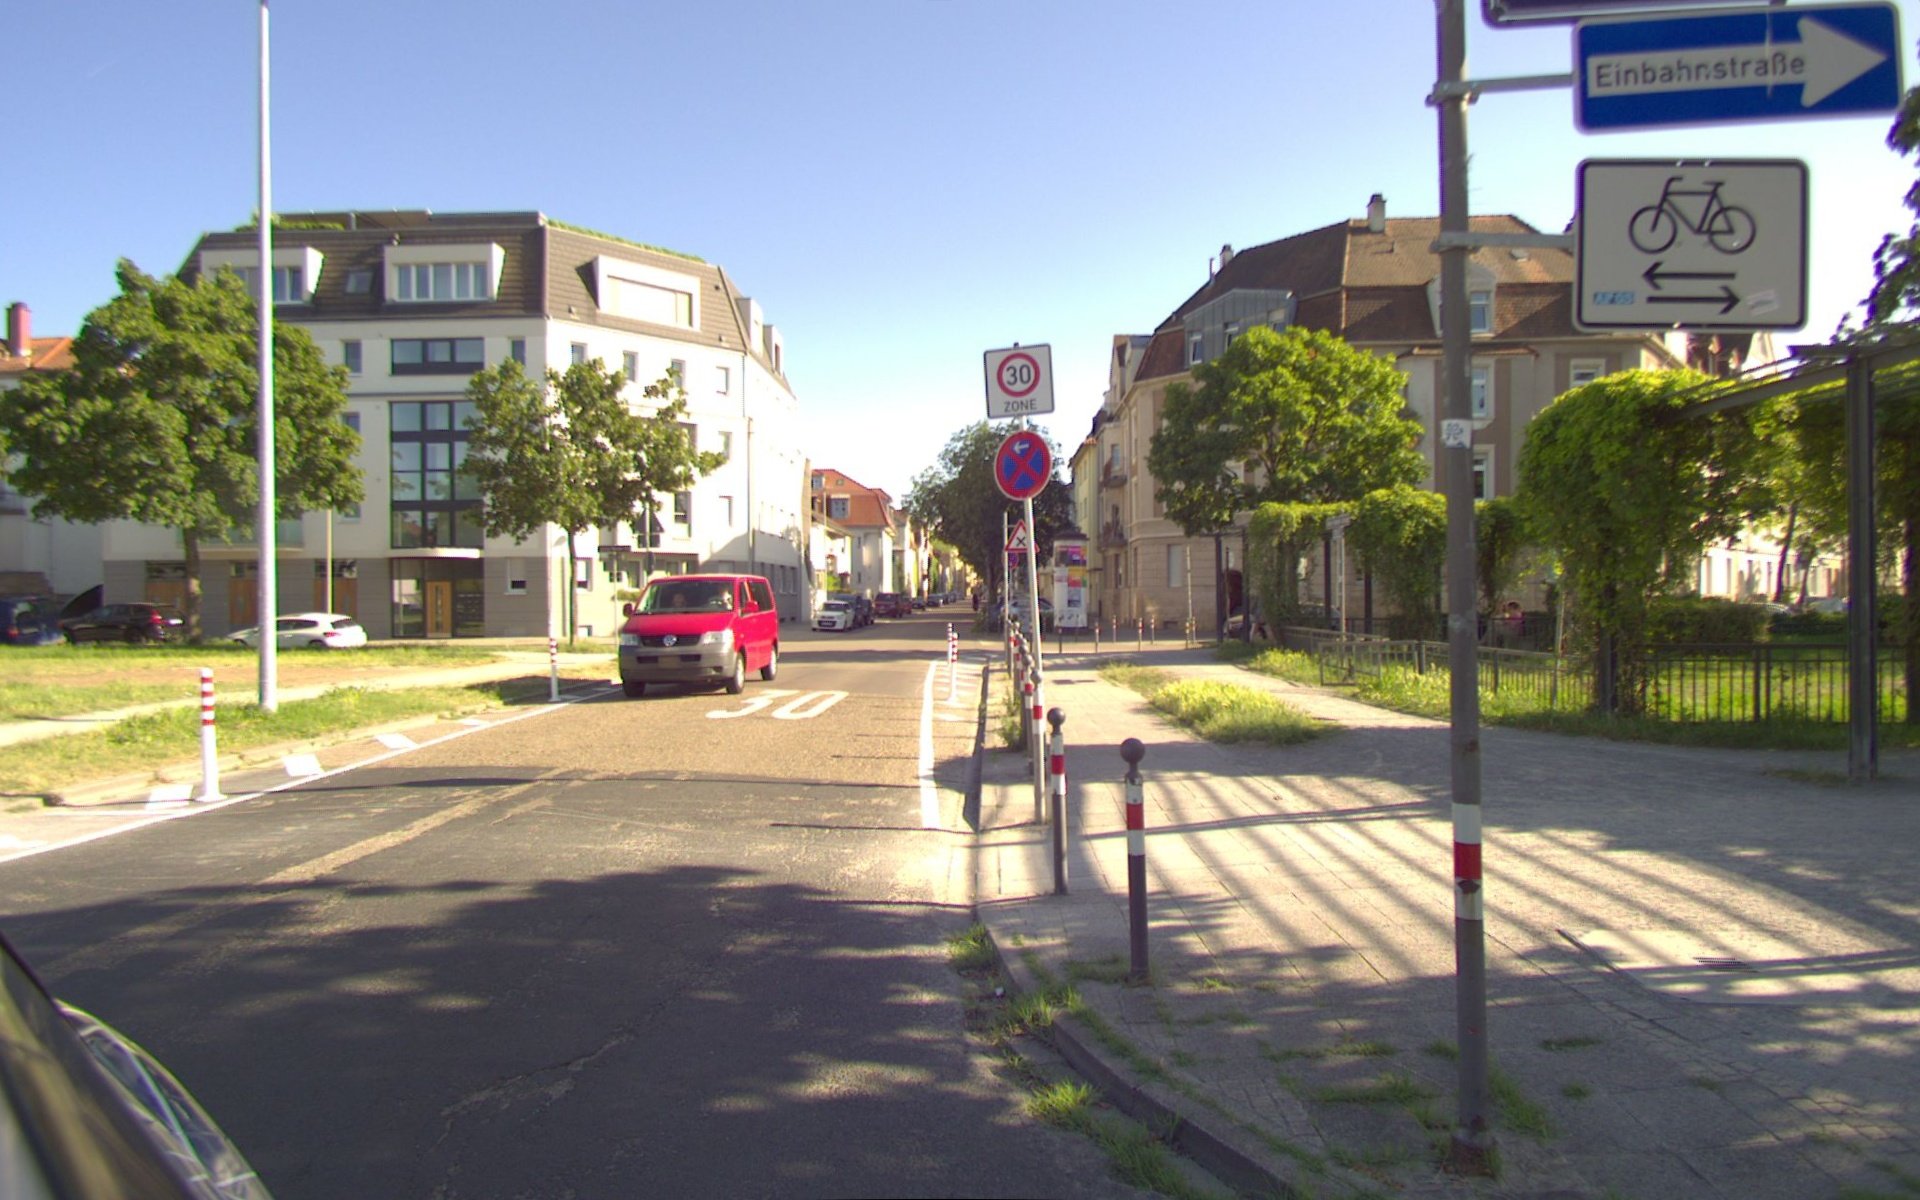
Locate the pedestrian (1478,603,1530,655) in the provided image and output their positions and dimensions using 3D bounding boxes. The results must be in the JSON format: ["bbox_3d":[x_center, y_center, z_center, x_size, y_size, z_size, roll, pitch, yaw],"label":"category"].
[{"bbox_3d":[12.263,0.653,22.828,0.863,1.147,0.598,0,0,4],"label":"pedestrian"}]

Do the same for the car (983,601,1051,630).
[{"bbox_3d":[3.191,0.876,57.149,3.738,1.506,1.692,-1,0,0],"label":"car"}]

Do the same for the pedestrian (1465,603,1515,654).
[{"bbox_3d":[12.310,0.656,23.507,0.835,1.158,0.598,0,0,4],"label":"pedestrian"}]

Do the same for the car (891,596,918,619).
[{"bbox_3d":[-4.887,0.625,89.561,1.861,1.885,4.398,2,0,3],"label":"car"}]

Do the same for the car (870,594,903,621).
[{"bbox_3d":[-5.464,0.534,75.657,1.861,1.885,4.398,3,0,3],"label":"car"}]

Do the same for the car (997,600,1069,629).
[{"bbox_3d":[3.917,0.770,54.928,3.738,1.455,1.692,-1,0,0],"label":"car"}]

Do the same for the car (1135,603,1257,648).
[{"bbox_3d":[8.558,0.922,36.928,3.958,1.494,1.868,0,3,0],"label":"car"}]

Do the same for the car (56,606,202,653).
[{"bbox_3d":[-32.164,1.133,39.221,4.233,1.695,1.894,0,1,4],"label":"car"}]

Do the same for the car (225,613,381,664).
[{"bbox_3d":[-21.219,1.231,32.788,3.941,1.443,1.739,0,4,3],"label":"car"}]

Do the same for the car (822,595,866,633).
[{"bbox_3d":[-6.133,0.728,53.883,1.644,1.849,4.253,2,0,2],"label":"car"}]

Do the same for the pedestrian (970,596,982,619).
[{"bbox_3d":[1.372,0.661,88.052,1.010,2.029,1.070,0,0,1],"label":"pedestrian"}]

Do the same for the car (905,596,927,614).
[{"bbox_3d":[-4.545,0.541,105.192,1.860,1.885,4.398,0,0,3],"label":"car"}]

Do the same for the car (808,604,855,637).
[{"bbox_3d":[-6.252,0.957,49.420,1.644,1.459,3.685,3,0,2],"label":"car"}]

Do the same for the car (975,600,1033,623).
[{"bbox_3d":[3.099,0.806,71.717,3.729,1.506,1.696,-1,0,-10],"label":"car"}]

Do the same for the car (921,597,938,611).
[{"bbox_3d":[-3.985,0.513,131.434,1.860,1.757,4.398,0,0,3],"label":"car"}]

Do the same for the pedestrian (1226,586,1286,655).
[{"bbox_3d":[7.596,0.511,26.026,1.072,1.686,0.916,-4,1,-16],"label":"pedestrian"}]

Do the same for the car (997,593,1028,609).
[{"bbox_3d":[6.226,0.112,119.803,3.482,1.716,1.692,-1,0,1],"label":"car"}]

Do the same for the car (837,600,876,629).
[{"bbox_3d":[-6.015,0.832,59.284,1.644,1.553,4.063,3,0,2],"label":"car"}]

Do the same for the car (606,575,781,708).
[{"bbox_3d":[-4.395,0.626,17.477,1.869,1.975,4.888,0,0,-2],"label":"car"}]

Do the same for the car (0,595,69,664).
[{"bbox_3d":[-31.964,0.951,33.182,3.942,2.099,1.783,0,4,4],"label":"car"}]
